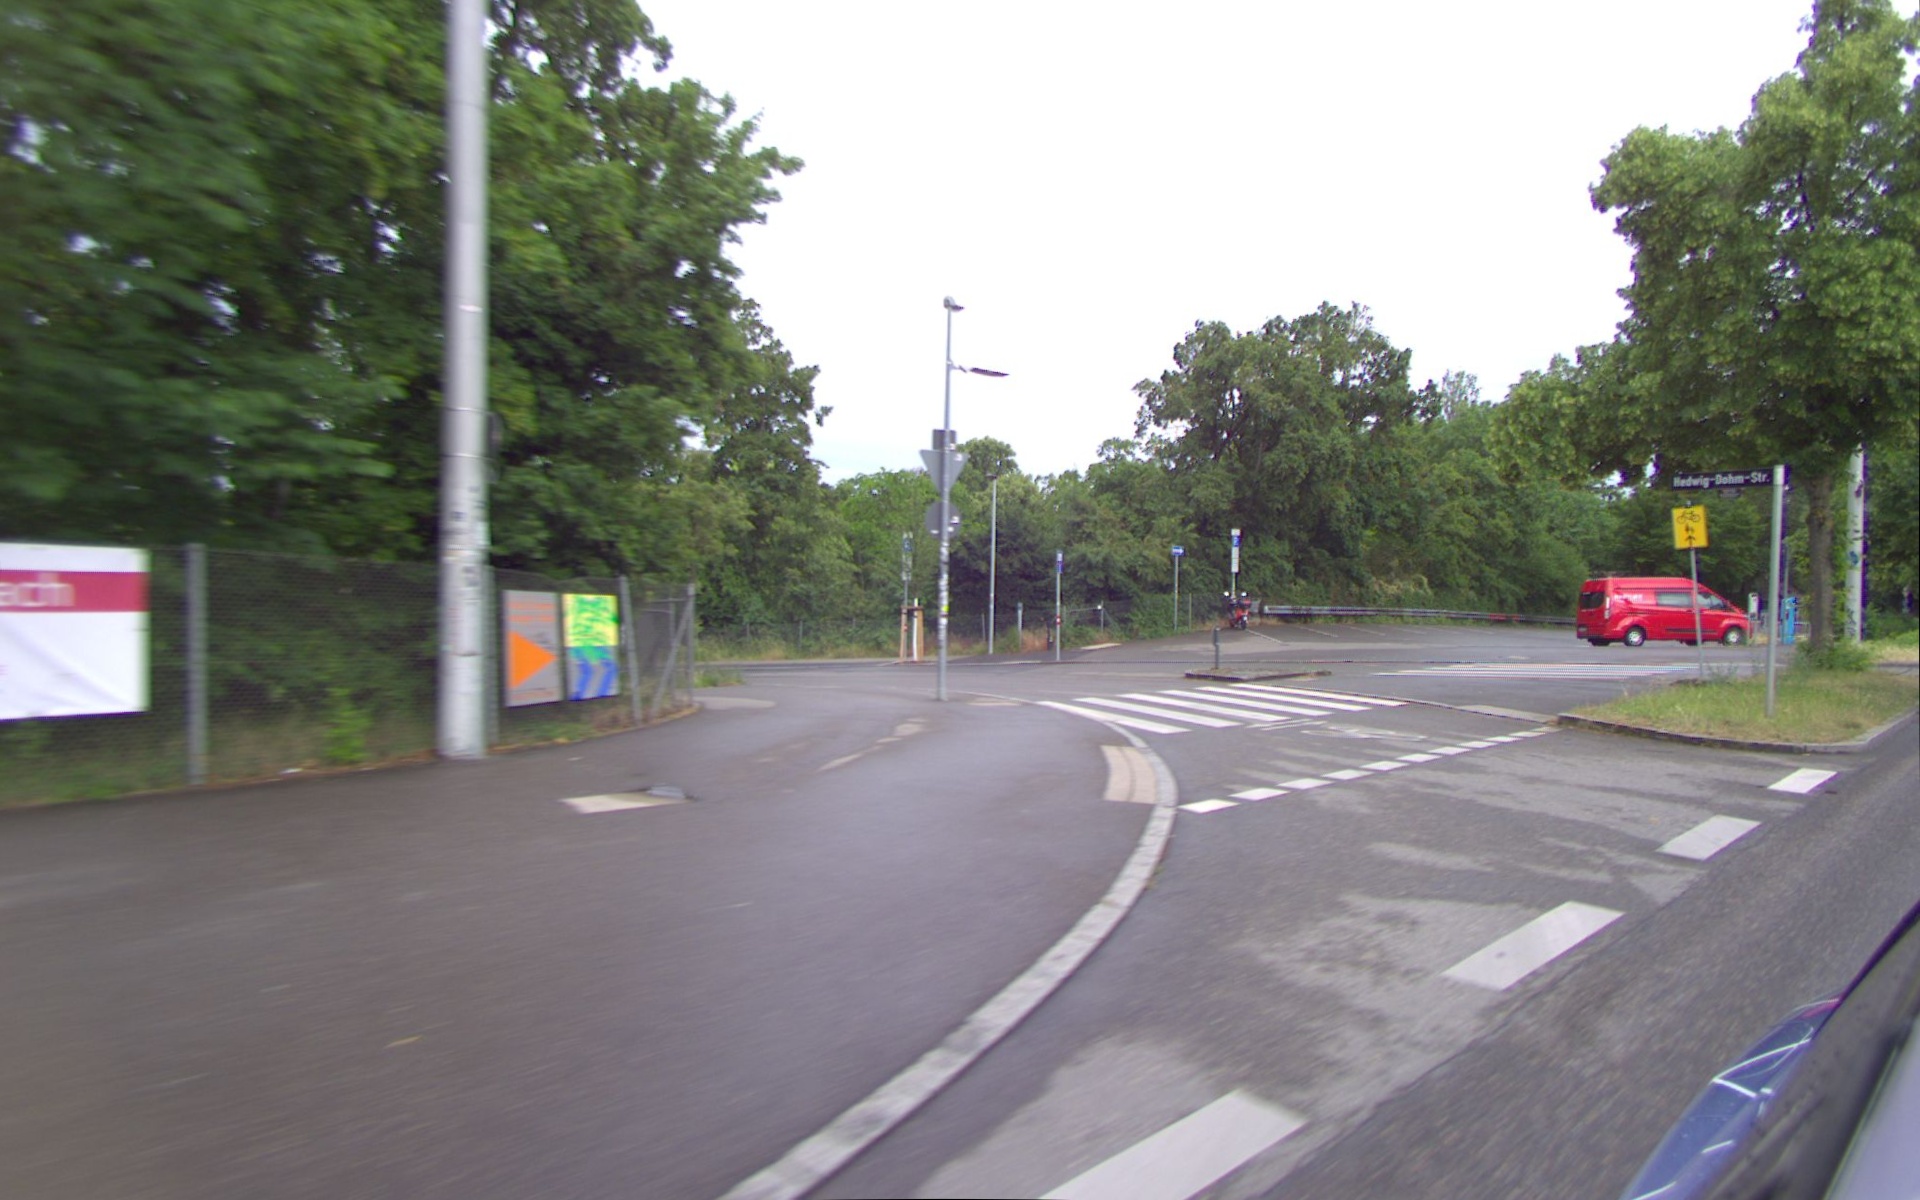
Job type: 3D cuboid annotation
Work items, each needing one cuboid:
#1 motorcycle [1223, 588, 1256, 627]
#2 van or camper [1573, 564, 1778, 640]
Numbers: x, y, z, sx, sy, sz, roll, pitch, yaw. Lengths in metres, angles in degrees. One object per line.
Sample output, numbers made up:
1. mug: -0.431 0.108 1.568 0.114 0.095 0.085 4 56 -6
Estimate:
1. motorcycle: 10.027 0.240 36.373 0.464 1.228 2.027 -3 4 -3
2. van or camper: 24.048 0.110 34.172 5.291 2.438 2.039 -1 -3 2
